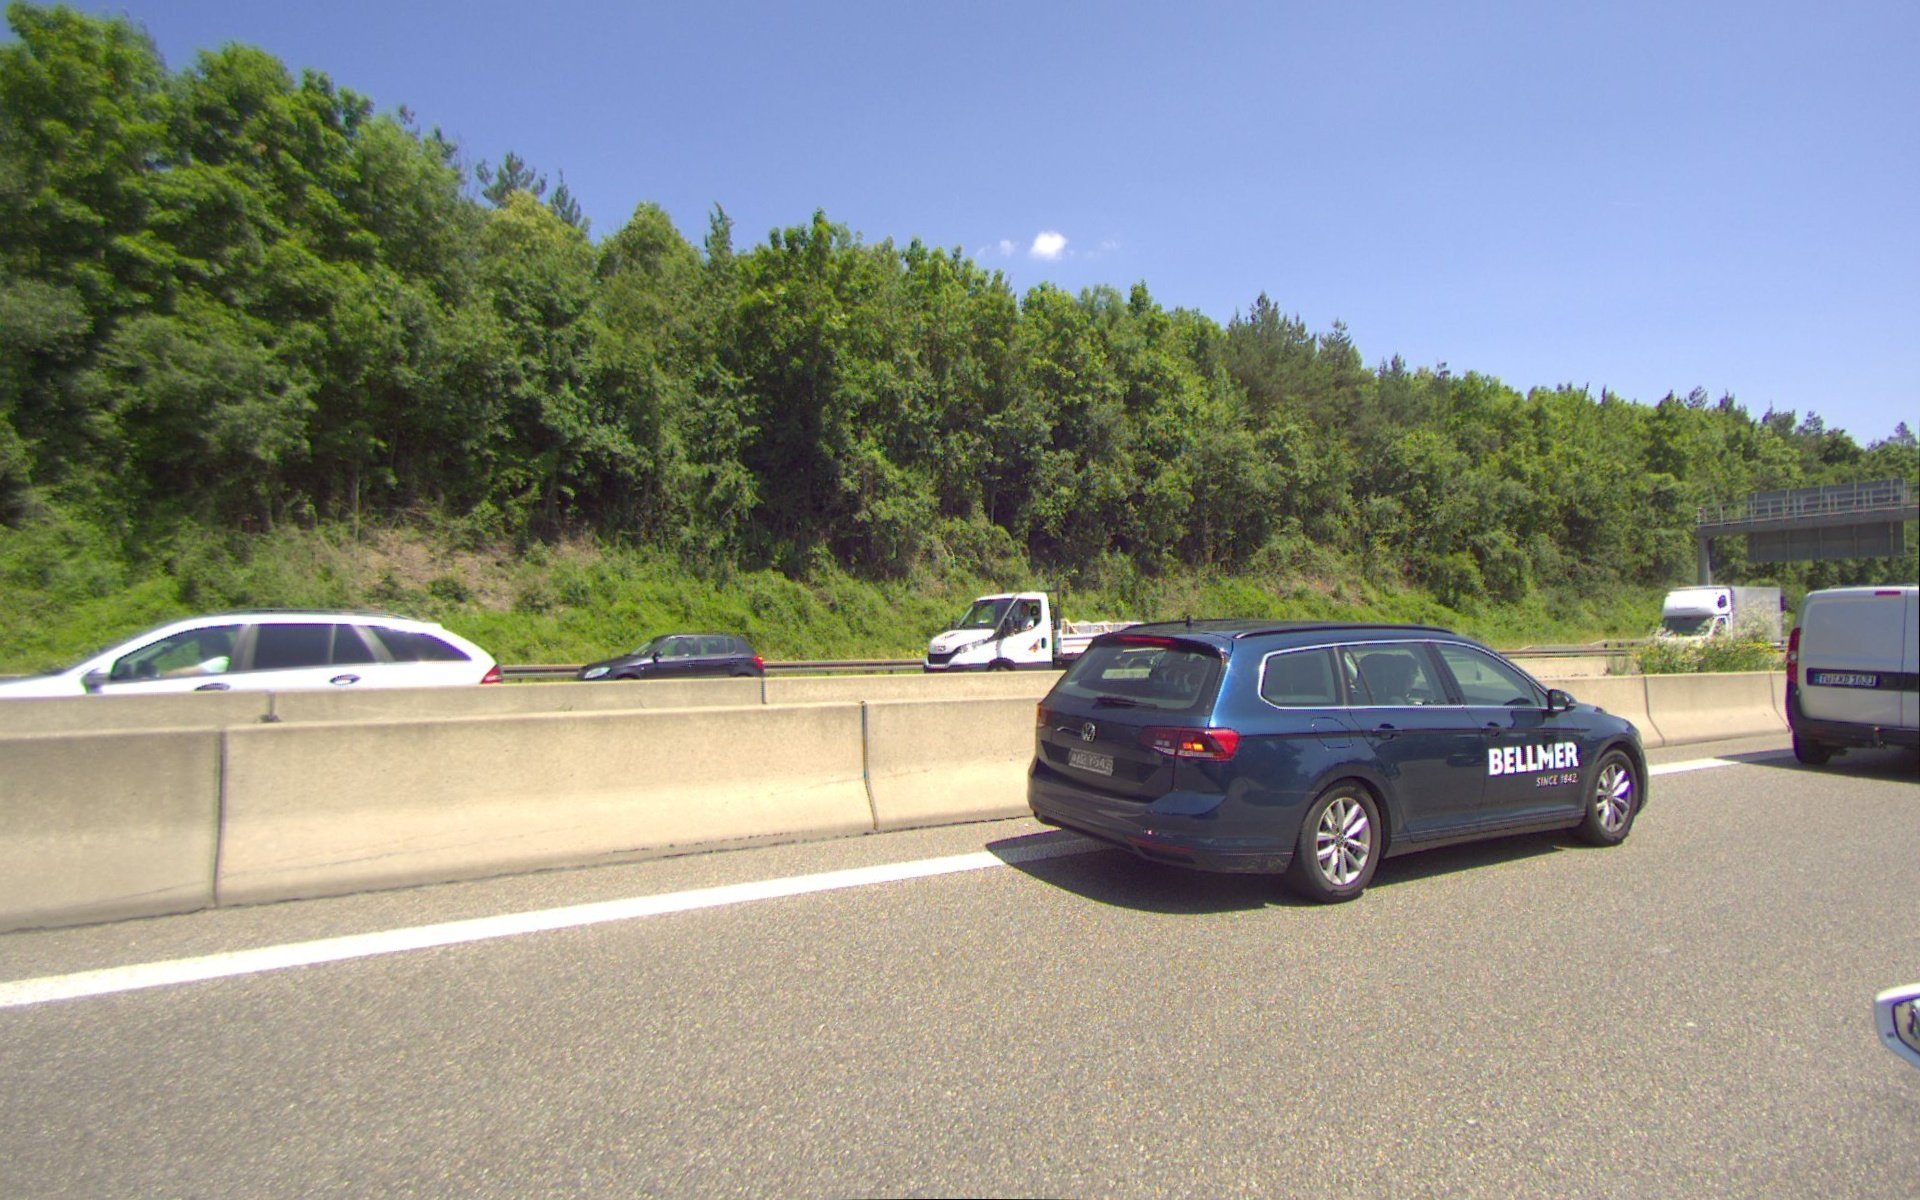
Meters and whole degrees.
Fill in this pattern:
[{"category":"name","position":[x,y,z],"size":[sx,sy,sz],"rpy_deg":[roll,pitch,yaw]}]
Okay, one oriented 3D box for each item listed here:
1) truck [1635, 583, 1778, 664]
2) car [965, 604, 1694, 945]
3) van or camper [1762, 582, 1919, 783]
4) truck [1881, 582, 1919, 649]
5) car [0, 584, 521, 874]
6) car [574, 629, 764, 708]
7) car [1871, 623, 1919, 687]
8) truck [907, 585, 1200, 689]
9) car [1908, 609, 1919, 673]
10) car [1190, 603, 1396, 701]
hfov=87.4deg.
[{"category":"truck","position":[29.172,0.949,39.176],"size":[6.667,2.923,2.166],"rpy_deg":[2,-1,-32]},{"category":"car","position":[2.491,0.827,6.371],"size":[4.624,1.469,1.865],"rpy_deg":[2,-1,-31]},{"category":"van or camper","position":[10.887,0.809,11.018],"size":[4.509,1.905,1.843],"rpy_deg":[1,0,-31]},{"category":"truck","position":[60.324,1.063,62.195],"size":[7.899,4.042,2.678],"rpy_deg":[2,-1,-31]},{"category":"car","position":[-6.077,0.961,8.666],"size":[3.954,2.040,1.984],"rpy_deg":[2,-1,-31]},{"category":"car","position":[-6.230,1.437,21.583],"size":[3.505,1.504,1.919],"rpy_deg":[2,-1,-33]},{"category":"car","position":[24.699,1.356,25.141],"size":[3.956,1.514,1.815],"rpy_deg":[1,-1,-32]},{"category":"truck","position":[2.202,0.838,22.459],"size":[6.421,2.040,2.338],"rpy_deg":[2,-1,-32]},{"category":"car","position":[32.706,1.381,32.440],"size":[3.953,2.040,1.984],"rpy_deg":[2,-1,-30]},{"category":"car","position":[7.069,1.080,21.203],"size":[4.245,1.862,1.775],"rpy_deg":[2,-1,-31]}]
